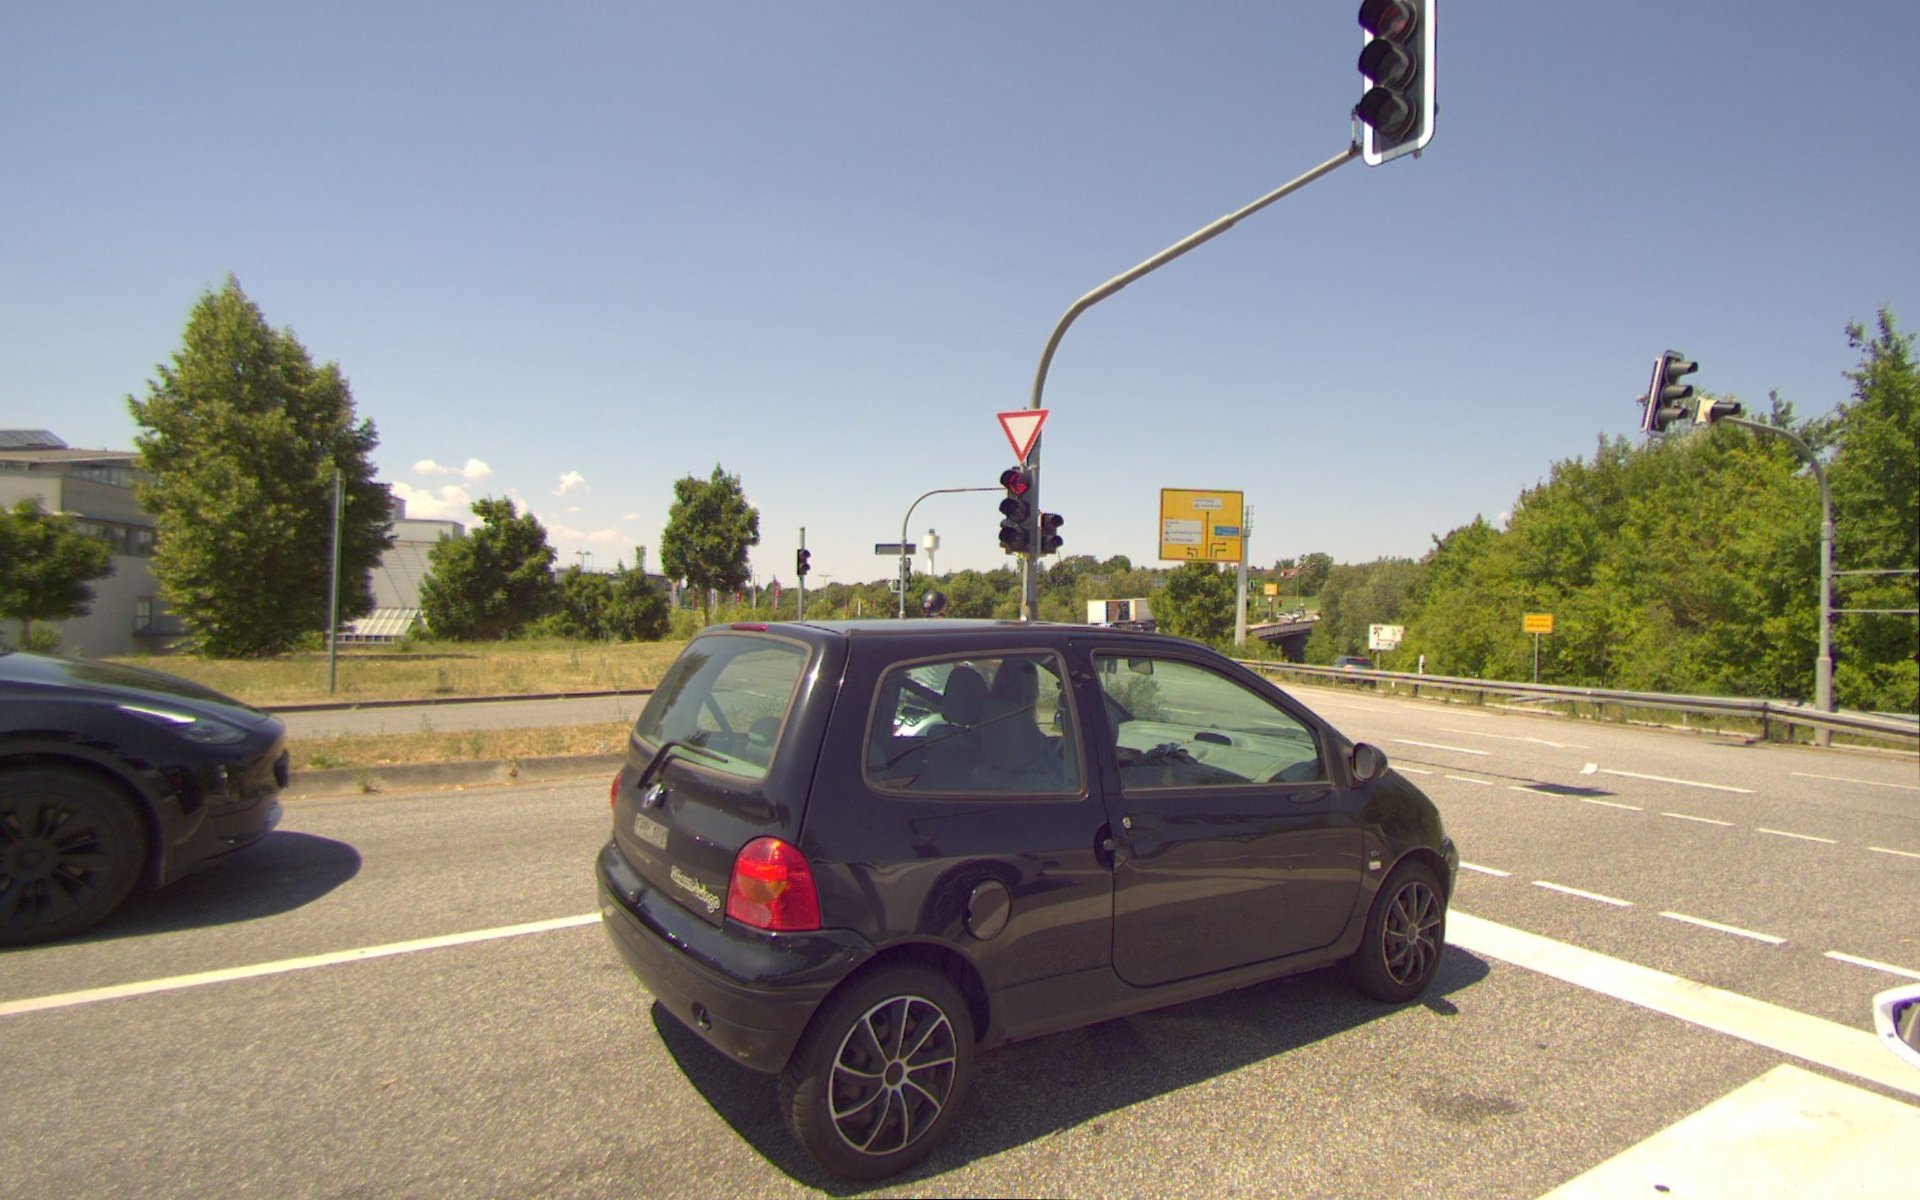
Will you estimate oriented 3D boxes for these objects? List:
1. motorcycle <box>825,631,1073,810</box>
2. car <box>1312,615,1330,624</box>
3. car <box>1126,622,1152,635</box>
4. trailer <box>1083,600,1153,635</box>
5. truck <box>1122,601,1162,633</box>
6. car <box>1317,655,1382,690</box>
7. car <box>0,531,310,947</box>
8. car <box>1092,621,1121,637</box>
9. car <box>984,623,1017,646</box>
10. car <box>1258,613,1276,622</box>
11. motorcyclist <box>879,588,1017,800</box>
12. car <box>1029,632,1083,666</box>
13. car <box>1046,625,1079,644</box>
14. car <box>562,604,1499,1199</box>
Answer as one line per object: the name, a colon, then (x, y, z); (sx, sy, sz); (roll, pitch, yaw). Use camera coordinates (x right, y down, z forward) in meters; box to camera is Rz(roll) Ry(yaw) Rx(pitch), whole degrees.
motorcycle: (-0.050, 0.907, 7.927); (1.921, 1.255, 0.572); (3, -1, -35)
car: (71.398, 3.863, 198.779); (3.789, 1.652, 1.781); (2, 0, -43)
car: (21.748, 3.437, 122.205); (1.963, 1.573, 3.994); (1, 0, 28)
trailer: (21.102, 2.219, 132.683); (3.186, 4.305, 15.366); (1, 1, 33)
truck: (25.245, 2.284, 139.089); (3.186, 4.305, 6.220); (1, 1, 33)
car: (19.033, 3.510, 49.261); (1.775, 1.452, 4.416); (4, -2, 6)
car: (-5.268, 0.503, 3.951); (4.462, 1.622, 1.862); (2, 0, -36)
car: (16.453, 3.264, 112.663); (1.899, 1.687, 3.994); (1, 1, 27)
car: (3.342, 2.789, 82.203); (1.847, 1.755, 4.002); (1, -1, 16)
car: (57.237, 3.273, 187.232); (1.752, 1.696, 3.765); (1, -1, 42)
motorcyclist: (-0.097, 0.707, 7.904); (0.838, 1.560, 0.607); (3, 0, -34)
car: (4.694, 2.383, 49.729); (1.778, 1.452, 3.925); (4, -1, -6)
car: (9.976, 3.332, 97.488); (1.848, 1.644, 3.995); (1, 1, 26)
car: (0.390, 0.774, 3.830); (3.267, 1.426, 1.609); (2, -1, -34)
